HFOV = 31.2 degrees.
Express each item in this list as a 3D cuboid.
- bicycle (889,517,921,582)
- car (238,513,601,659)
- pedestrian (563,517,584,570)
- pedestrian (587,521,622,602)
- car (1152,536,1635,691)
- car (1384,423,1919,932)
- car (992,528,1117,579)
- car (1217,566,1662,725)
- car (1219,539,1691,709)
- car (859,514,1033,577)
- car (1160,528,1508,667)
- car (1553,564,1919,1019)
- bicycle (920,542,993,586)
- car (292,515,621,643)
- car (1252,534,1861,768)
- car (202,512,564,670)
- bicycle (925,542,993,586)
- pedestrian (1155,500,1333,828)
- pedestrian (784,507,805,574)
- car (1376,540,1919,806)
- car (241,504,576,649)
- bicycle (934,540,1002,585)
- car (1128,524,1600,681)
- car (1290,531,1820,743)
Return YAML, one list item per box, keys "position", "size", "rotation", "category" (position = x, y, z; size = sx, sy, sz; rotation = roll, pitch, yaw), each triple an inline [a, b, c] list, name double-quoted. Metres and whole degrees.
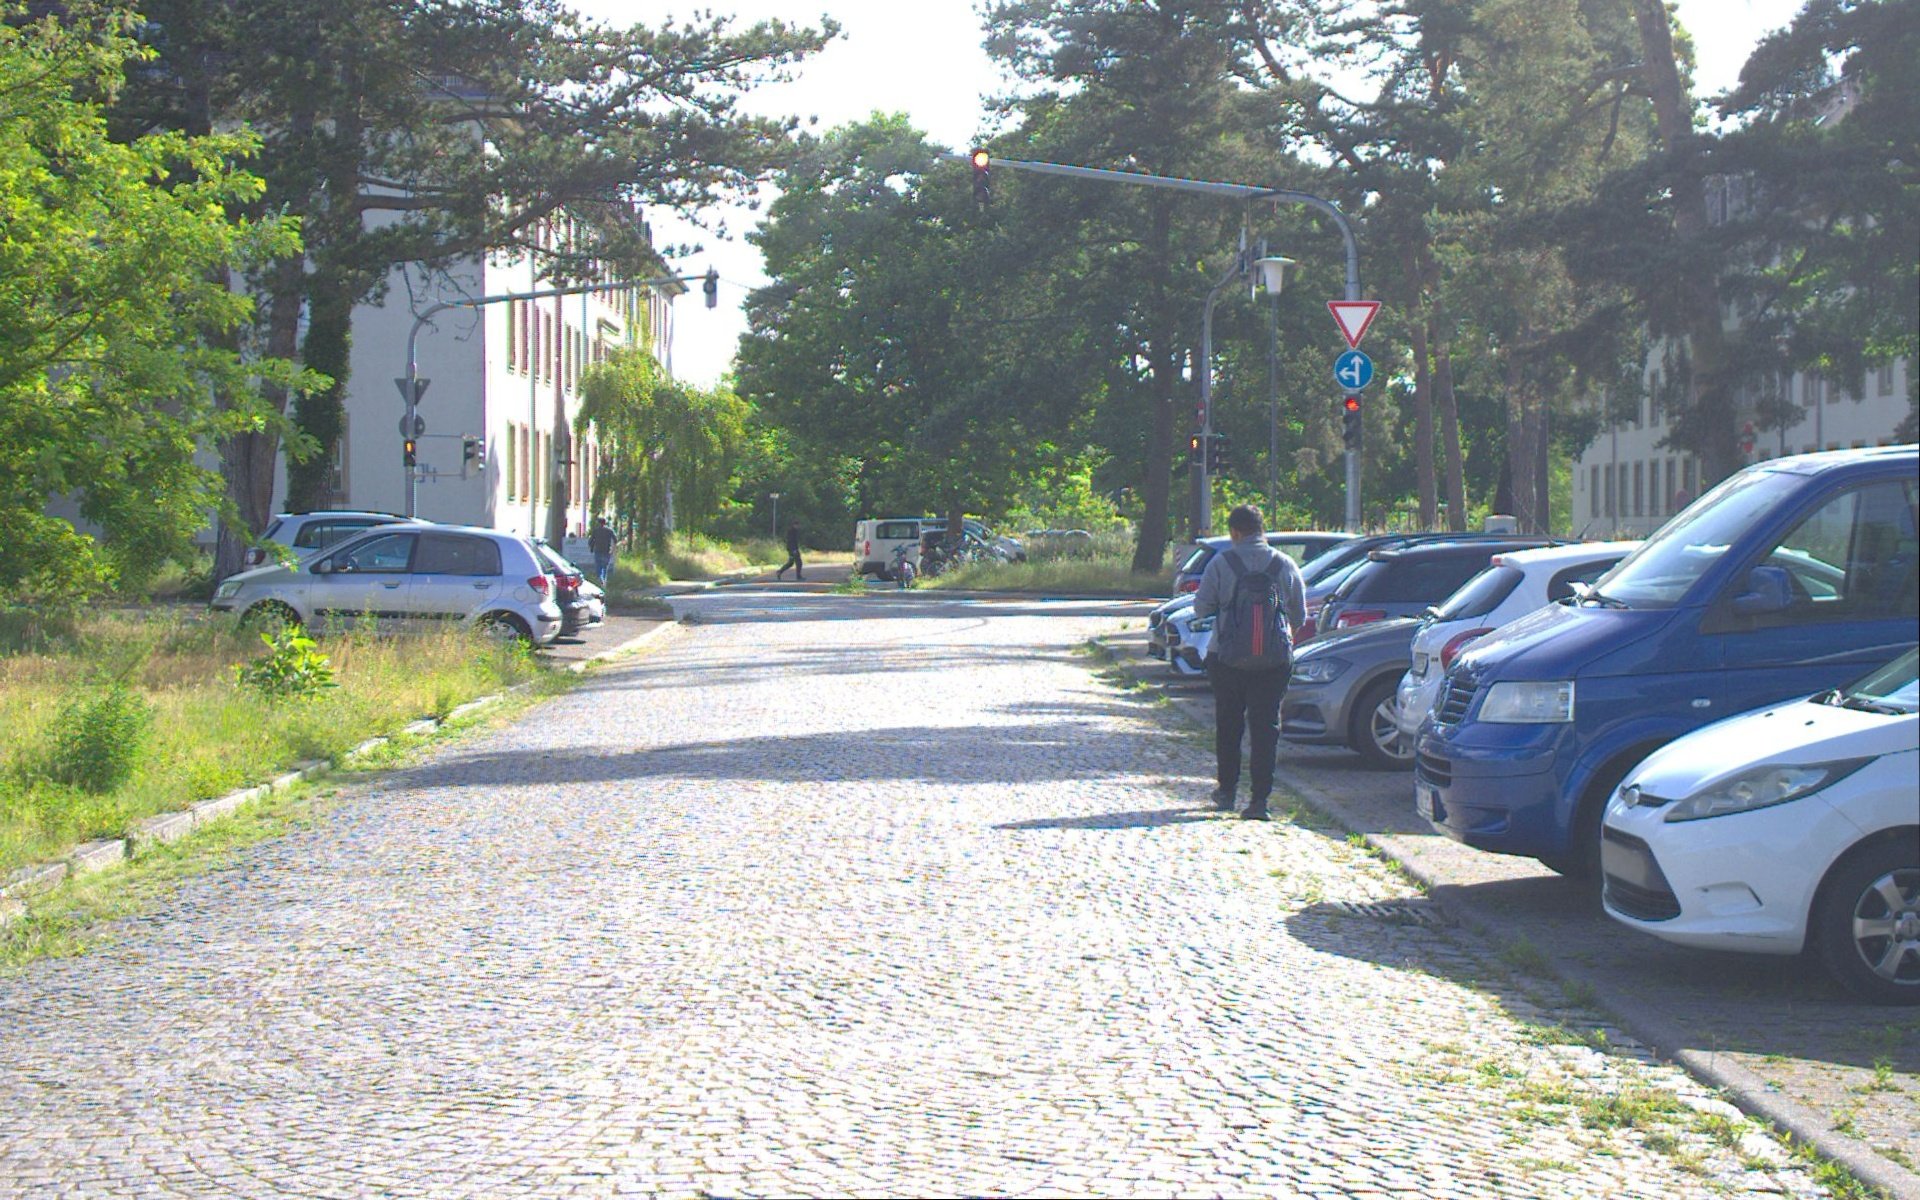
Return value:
- position: [-1.344, -1.242, 84.158]
  size: [0.753, 1.575, 2.537]
  rotation: [1, 1, -1]
  category: "bicycle"
- position: [-6.287, -0.179, 40.292]
  size: [3.937, 1.440, 1.691]
  rotation: [3, 1, -2]
  category: "car"
- position: [-11.382, -1.662, 101.262]
  size: [0.606, 1.554, 0.545]
  rotation: [0, 1, -7]
  category: "pedestrian"
- position: [-7.686, -0.829, 74.363]
  size: [0.606, 1.746, 0.630]
  rotation: [0, 1, -21]
  category: "pedestrian"
- position: [4.149, 0.107, 33.356]
  size: [4.399, 1.384, 1.789]
  rotation: [-1, 1, -2]
  category: "car"
- position: [4.369, 0.251, 14.905]
  size: [4.754, 2.007, 2.000]
  rotation: [-2, 1, 0]
  category: "car"
- position: [2.994, -1.480, 109.246]
  size: [3.743, 1.574, 1.742]
  rotation: [0, 1, -8]
  category: "car"
- position: [3.932, 0.363, 28.551]
  size: [3.460, 1.238, 1.536]
  rotation: [1, 1, 0]
  category: "car"
- position: [4.398, 0.193, 30.940]
  size: [3.979, 1.443, 1.656]
  rotation: [-1, 1, -1]
  category: "car"
- position: [-0.450, -1.667, 105.371]
  size: [5.065, 1.911, 2.001]
  rotation: [0, 1, -10]
  category: "car"
- position: [4.150, -0.045, 38.535]
  size: [3.673, 1.438, 1.665]
  rotation: [-1, 1, -1]
  category: "car"
- position: [4.149, 0.604, 12.283]
  size: [3.719, 1.462, 1.610]
  rotation: [-1, 1, -3]
  category: "car"
- position: [-0.088, -0.915, 87.454]
  size: [1.834, 1.108, 0.495]
  rotation: [0, 1, -4]
  category: "bicycle"
- position: [-6.653, -0.294, 45.679]
  size: [3.987, 1.491, 1.772]
  rotation: [3, 1, 4]
  category: "car"
- position: [3.925, 0.315, 23.082]
  size: [3.781, 1.445, 1.758]
  rotation: [-1, 1, 1]
  category: "car"
- position: [-6.267, -0.118, 37.626]
  size: [3.685, 1.522, 1.699]
  rotation: [3, 1, -3]
  category: "car"
- position: [-0.028, -0.925, 87.999]
  size: [1.727, 1.108, 0.484]
  rotation: [0, 1, -4]
  category: "bicycle"
- position: [1.563, 0.338, 19.033]
  size: [0.753, 1.719, 0.828]
  rotation: [5, 1, -1]
  category: "pedestrian"
- position: [-4.949, -1.794, 102.979]
  size: [0.594, 2.007, 0.573]
  rotation: [0, 1, -1]
  category: "pedestrian"
- position: [4.366, 0.397, 20.153]
  size: [3.645, 1.487, 1.634]
  rotation: [0, 1, 0]
  category: "car"
- position: [-6.830, -0.304, 42.831]
  size: [3.879, 1.610, 1.661]
  rotation: [3, 1, -2]
  category: "car"
- position: [0.198, -0.973, 88.681]
  size: [1.727, 1.160, 0.561]
  rotation: [0, 1, -4]
  category: "bicycle"
- position: [4.178, 0.002, 35.998]
  size: [4.619, 1.450, 1.870]
  rotation: [-2, 1, -3]
  category: "car"
- position: [4.419, 0.255, 25.913]
  size: [3.663, 1.450, 1.667]
  rotation: [-1, 1, -1]
  category: "car"
